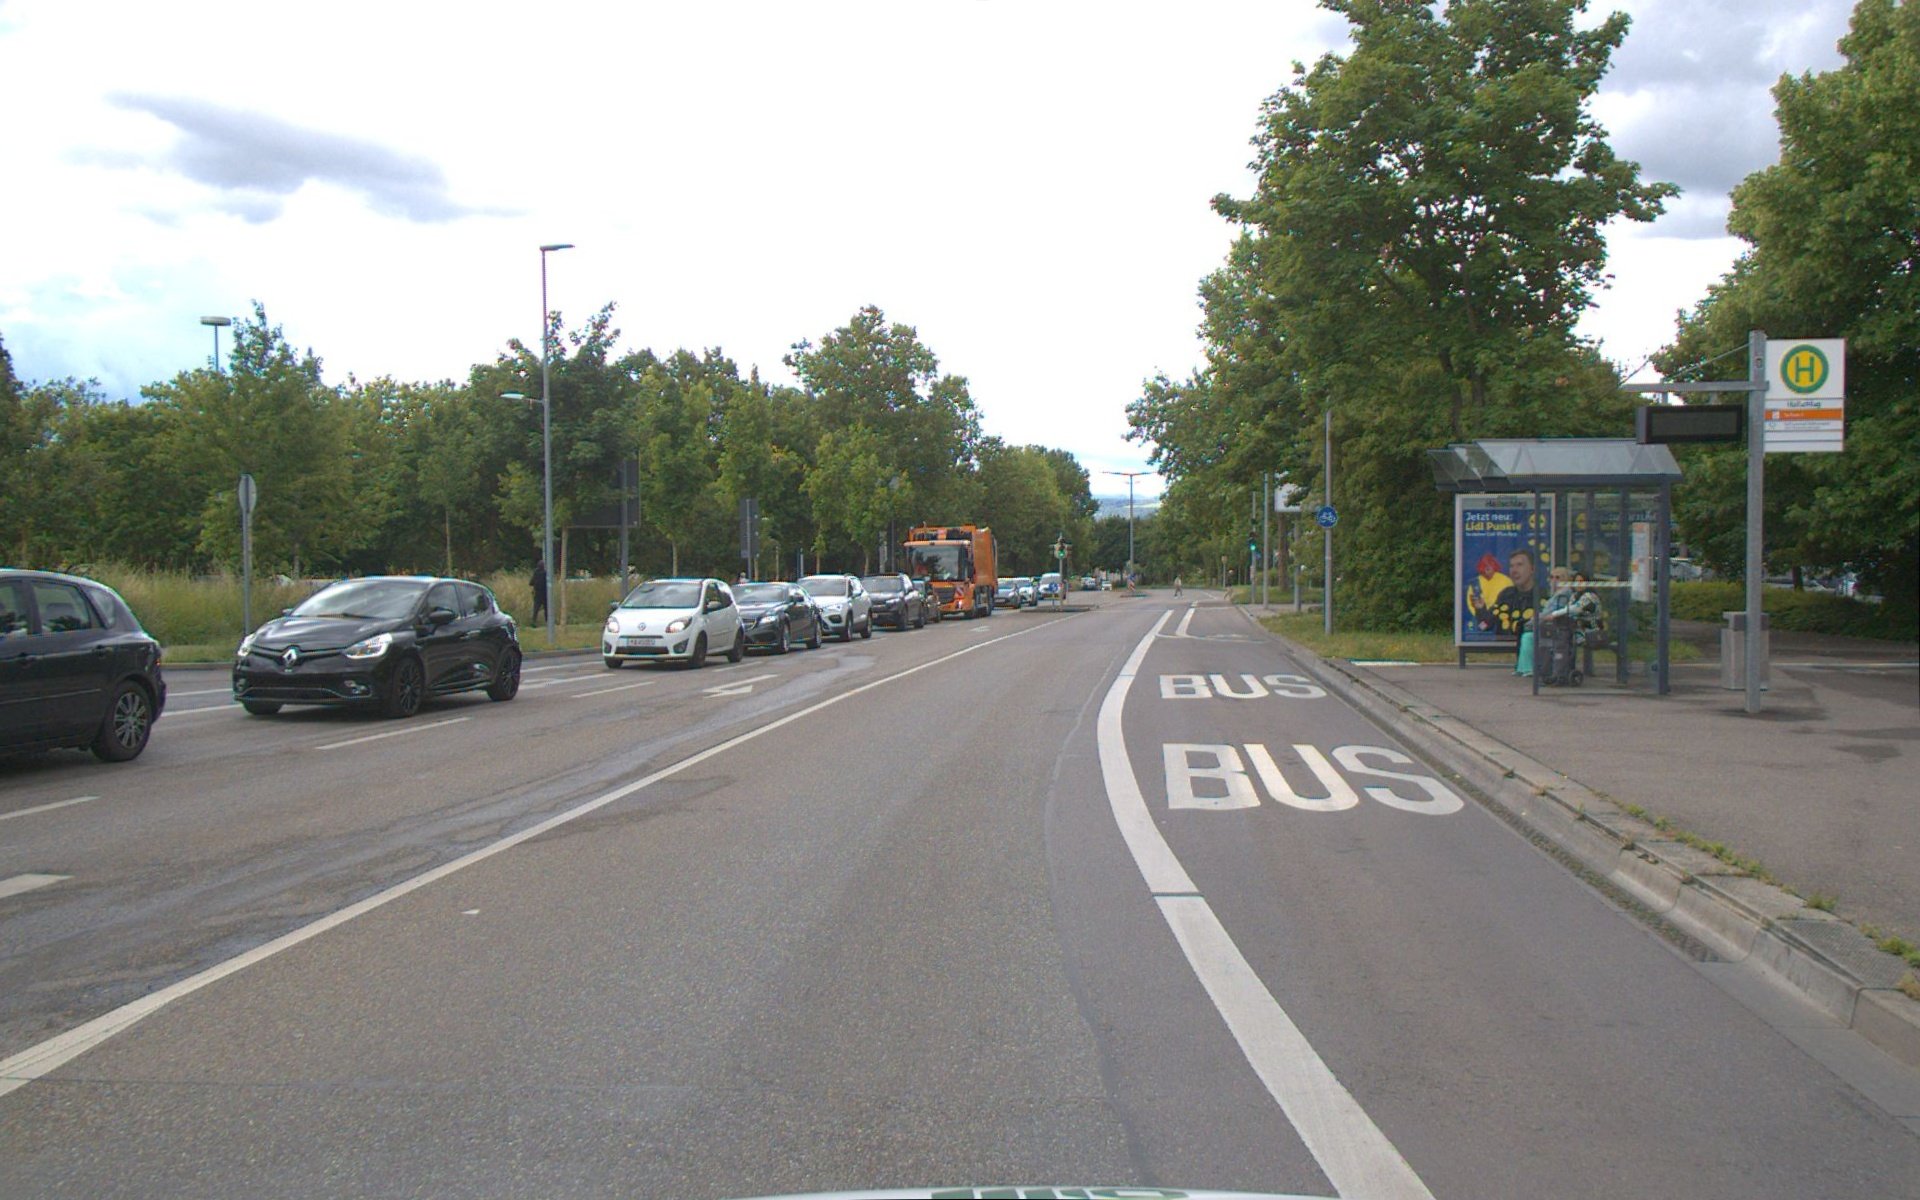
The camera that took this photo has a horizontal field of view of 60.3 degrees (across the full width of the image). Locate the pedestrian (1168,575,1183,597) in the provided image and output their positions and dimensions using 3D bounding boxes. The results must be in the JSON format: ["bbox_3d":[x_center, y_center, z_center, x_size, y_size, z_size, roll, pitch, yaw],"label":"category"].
[{"bbox_3d":[14.598,-0.926,112.041,0.775,1.489,0.747,-1,0,-11],"label":"pedestrian"}]

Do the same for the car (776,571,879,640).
[{"bbox_3d":[-3.210,0.093,40.848,1.693,1.613,4.227,0,1,7],"label":"car"}]

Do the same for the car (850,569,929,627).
[{"bbox_3d":[-2.019,-0.083,48.484,1.604,1.613,4.064,0,1,7],"label":"car"}]

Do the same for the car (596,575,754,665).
[{"bbox_3d":[-4.786,0.294,28.279,1.604,1.415,3.766,0,1,7],"label":"car"}]

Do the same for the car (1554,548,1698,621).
[{"bbox_3d":[19.573,-0.463,48.569,3.947,2.060,1.979,-1,0,-31],"label":"car"}]

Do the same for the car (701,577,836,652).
[{"bbox_3d":[-3.838,0.245,34.027,1.604,1.415,4.889,0,1,7],"label":"car"}]

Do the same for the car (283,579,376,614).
[{"bbox_3d":[-38.513,-0.221,101.120,4.861,2.049,2.001,-1,0,5],"label":"car"}]

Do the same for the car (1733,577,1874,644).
[{"bbox_3d":[31.186,0.353,61.278,1.967,2.367,4.395,-1,0,-24],"label":"car"}]

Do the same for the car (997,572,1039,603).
[{"bbox_3d":[3.157,-0.685,89.088,1.807,1.547,4.819,-3,0,7],"label":"car"}]

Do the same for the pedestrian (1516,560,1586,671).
[{"bbox_3d":[7.266,0.183,20.368,0.712,1.339,0.589,0,1,10],"label":"pedestrian"}]

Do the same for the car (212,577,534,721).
[{"bbox_3d":[-6.164,0.447,17.891,1.604,1.355,4.064,0,1,7],"label":"car"}]

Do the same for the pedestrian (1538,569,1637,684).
[{"bbox_3d":[7.164,0.282,18.883,0.767,1.274,0.763,0,1,-34],"label":"pedestrian"}]

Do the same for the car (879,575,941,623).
[{"bbox_3d":[-1.602,-0.053,54.249,1.403,1.483,3.898,0,1,7],"label":"car"}]

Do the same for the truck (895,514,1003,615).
[{"bbox_3d":[-0.270,-1.334,63.447,2.648,3.548,10.004,0,1,8],"label":"truck"}]

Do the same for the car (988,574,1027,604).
[{"bbox_3d":[2.357,-0.556,81.069,1.514,1.354,3.657,-3,0,7],"label":"car"}]

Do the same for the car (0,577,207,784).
[{"bbox_3d":[-7.192,0.540,11.244,1.761,1.355,4.384,0,1,6],"label":"car"}]

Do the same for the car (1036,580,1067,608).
[{"bbox_3d":[6.408,-0.451,115.955,1.807,1.835,4.654,-3,0,7],"label":"car"}]

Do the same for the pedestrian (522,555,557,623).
[{"bbox_3d":[-11.641,-0.299,45.762,0.705,1.867,0.678,-1,0,8],"label":"pedestrian"}]

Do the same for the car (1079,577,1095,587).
[{"bbox_3d":[16.391,-2.325,213.453,1.734,1.327,4.003,0,0,7],"label":"car"}]

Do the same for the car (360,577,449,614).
[{"bbox_3d":[-35.111,-0.265,104.562,4.862,2.229,2.001,-1,0,4],"label":"car"}]
